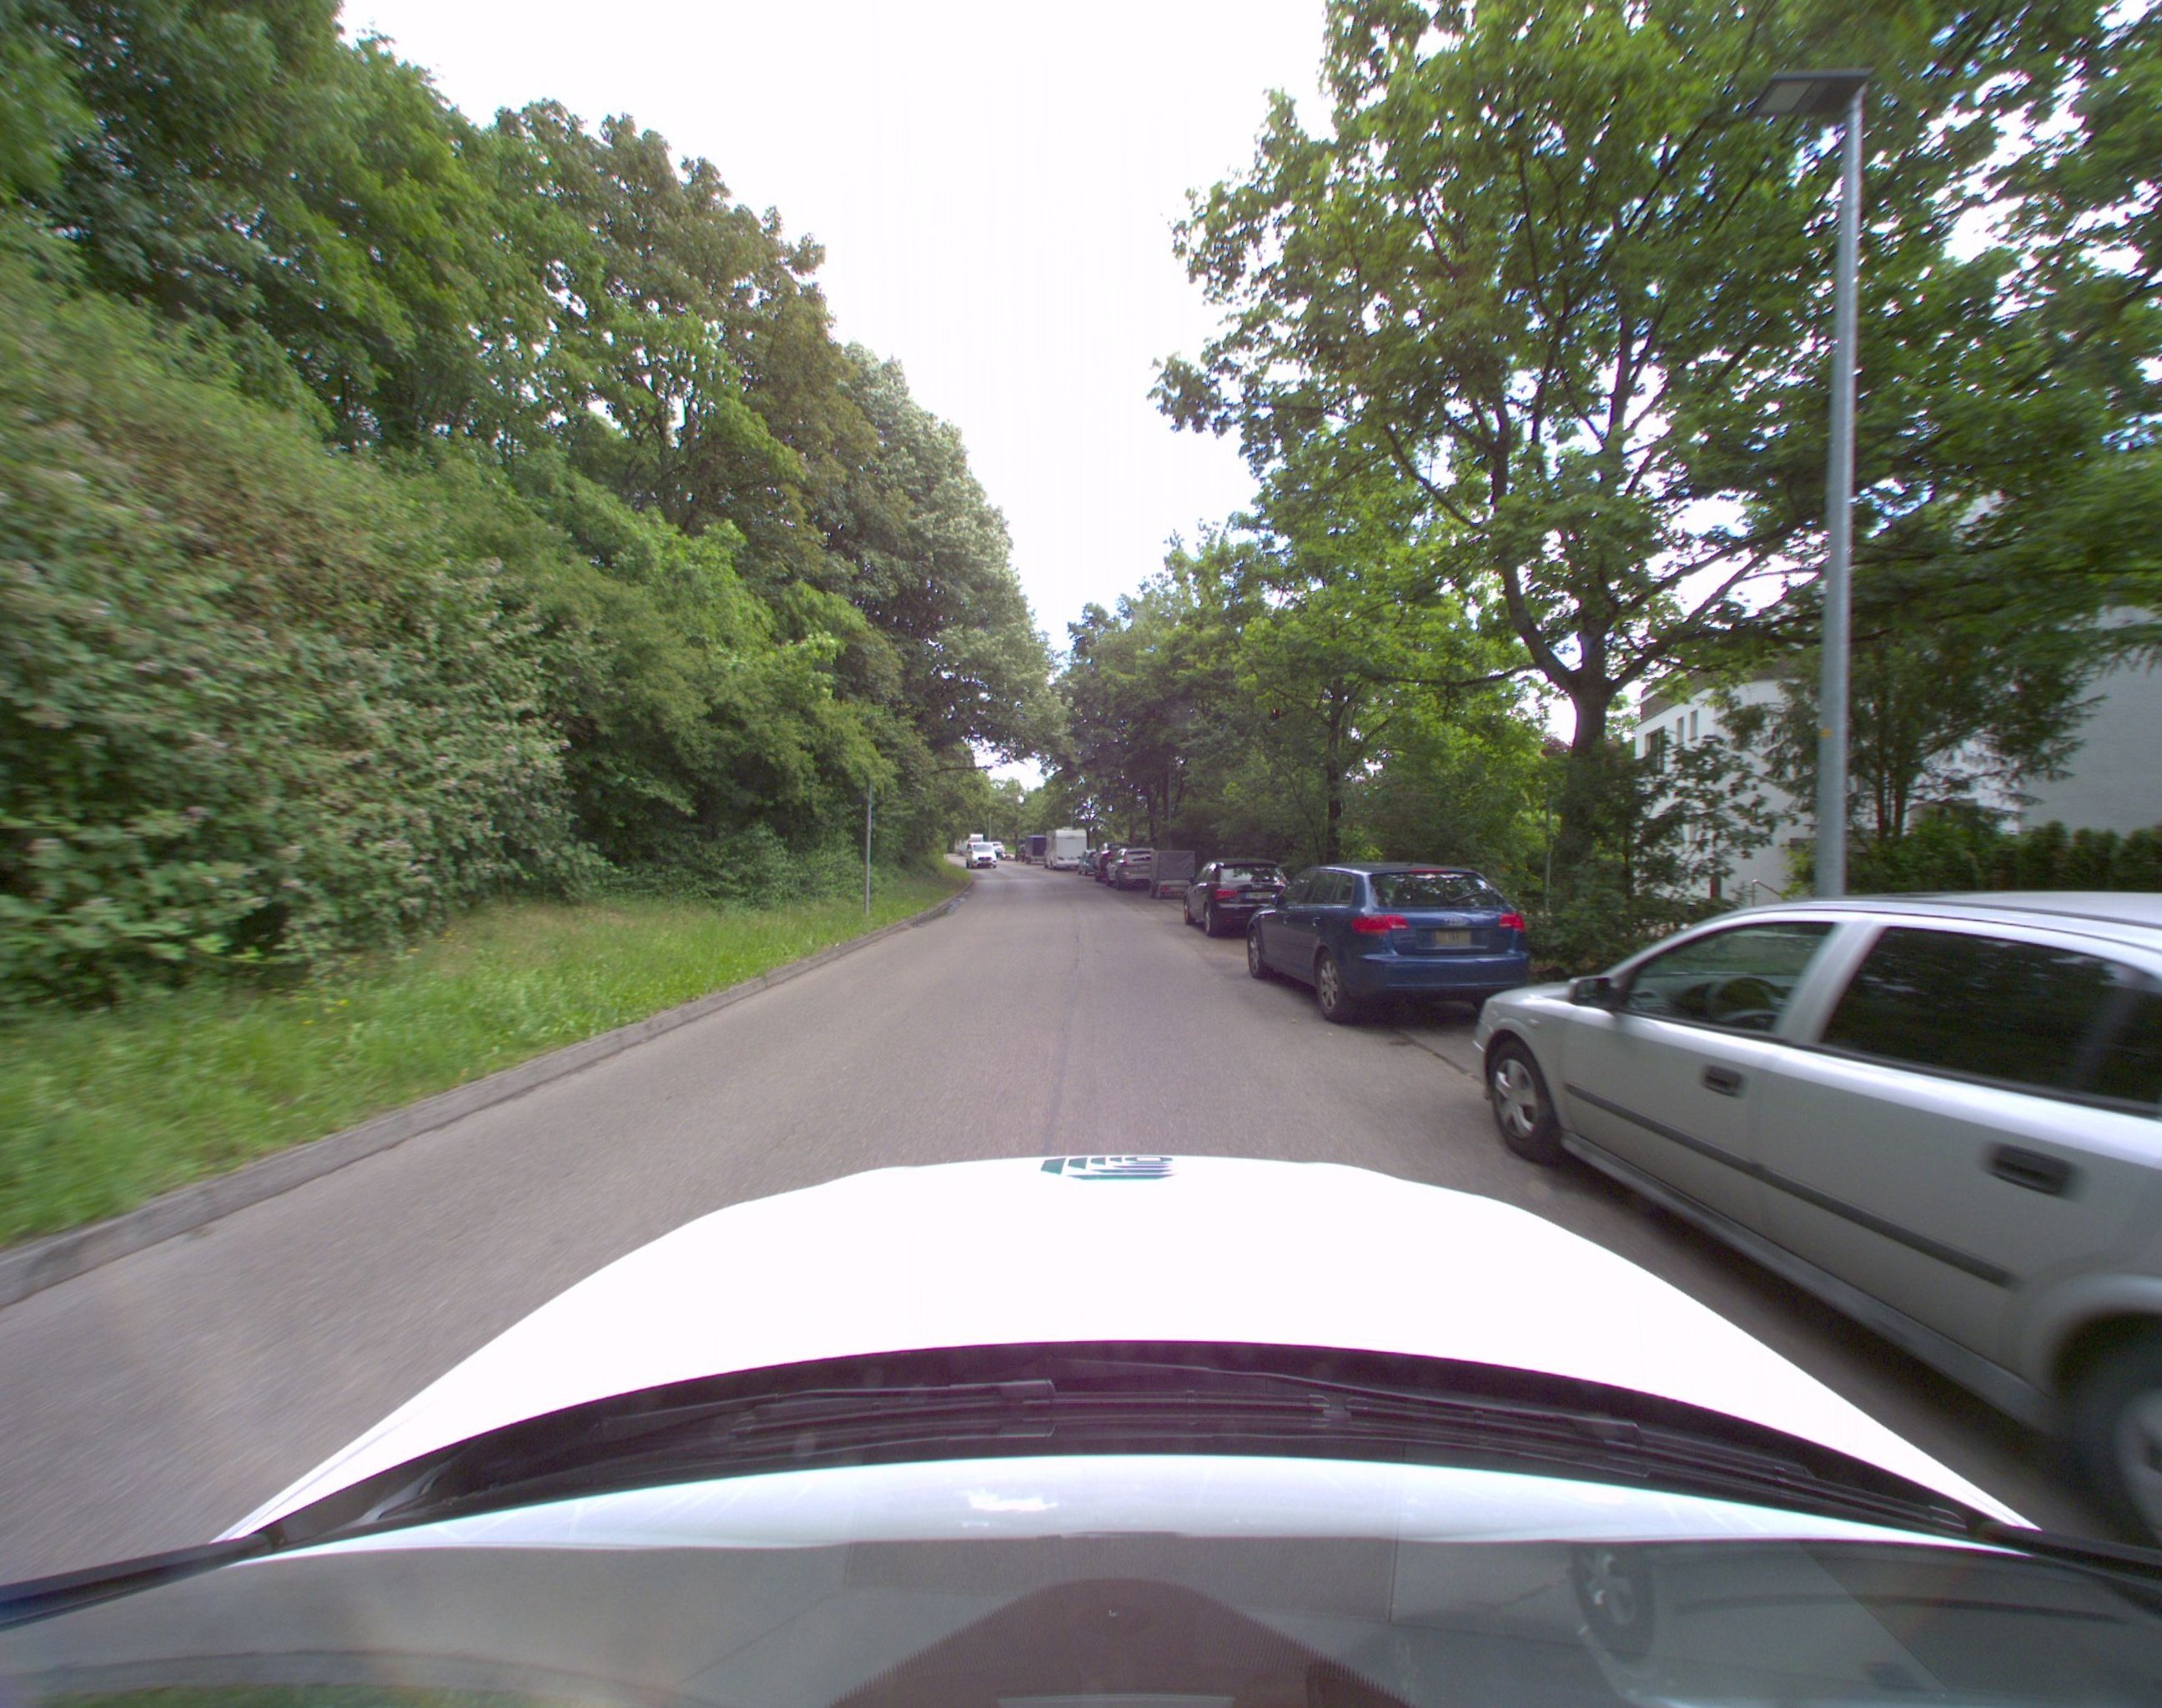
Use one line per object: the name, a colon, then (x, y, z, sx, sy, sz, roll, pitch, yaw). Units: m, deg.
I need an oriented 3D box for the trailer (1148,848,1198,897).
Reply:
trailer: (3.038, 0.587, 27.195, 1.275, 1.585, 2.458, 0, 0, -3)

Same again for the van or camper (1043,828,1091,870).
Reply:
van or camper: (-1.132, -0.385, 59.305, 2.482, 2.876, 6.866, 0, 0, -10)

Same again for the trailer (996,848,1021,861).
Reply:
trailer: (-7.056, 0.014, 78.767, 1.655, 1.086, 3.979, -2, 2, -15)

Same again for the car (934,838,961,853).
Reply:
car: (-17.213, -1.114, 104.979, 2.007, 1.869, 3.961, -3, 3, -31)

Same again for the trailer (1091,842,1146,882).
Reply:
trailer: (1.723, 0.325, 39.689, 1.976, 1.811, 5.139, -1, 1, -5)

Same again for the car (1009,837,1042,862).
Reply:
car: (-5.137, -0.440, 75.086, 2.000, 2.025, 3.975, -3, 3, -19)

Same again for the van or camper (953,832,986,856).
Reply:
van or camper: (-13.092, -1.178, 95.583, 2.539, 2.697, 4.537, -2, 1, -26)

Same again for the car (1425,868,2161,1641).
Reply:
car: (3.053, 0.832, 3.020, 1.806, 1.437, 4.243, 1, 0, 1)

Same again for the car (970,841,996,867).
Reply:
car: (-7.692, -0.016, 64.408, 1.945, 1.984, 4.492, 0, 0, -6)

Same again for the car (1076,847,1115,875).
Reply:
car: (0.843, 0.381, 49.009, 1.799, 1.562, 3.825, -1, 1, -8)

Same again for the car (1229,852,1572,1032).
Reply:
car: (3.066, 0.732, 8.977, 1.843, 1.474, 4.473, 0, 0, -3)

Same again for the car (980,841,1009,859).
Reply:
car: (-9.360, -0.460, 87.757, 2.044, 1.803, 4.051, -1, 1, -23)

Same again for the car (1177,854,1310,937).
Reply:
car: (3.111, 0.743, 16.347, 1.716, 1.453, 3.913, 0, 0, -3)

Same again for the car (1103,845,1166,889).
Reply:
car: (2.111, 0.527, 33.543, 1.790, 1.670, 4.490, 0, -1, -7)

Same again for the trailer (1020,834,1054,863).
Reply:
trailer: (-3.773, -0.459, 69.772, 1.999, 2.398, 3.976, 0, 0, -18)
